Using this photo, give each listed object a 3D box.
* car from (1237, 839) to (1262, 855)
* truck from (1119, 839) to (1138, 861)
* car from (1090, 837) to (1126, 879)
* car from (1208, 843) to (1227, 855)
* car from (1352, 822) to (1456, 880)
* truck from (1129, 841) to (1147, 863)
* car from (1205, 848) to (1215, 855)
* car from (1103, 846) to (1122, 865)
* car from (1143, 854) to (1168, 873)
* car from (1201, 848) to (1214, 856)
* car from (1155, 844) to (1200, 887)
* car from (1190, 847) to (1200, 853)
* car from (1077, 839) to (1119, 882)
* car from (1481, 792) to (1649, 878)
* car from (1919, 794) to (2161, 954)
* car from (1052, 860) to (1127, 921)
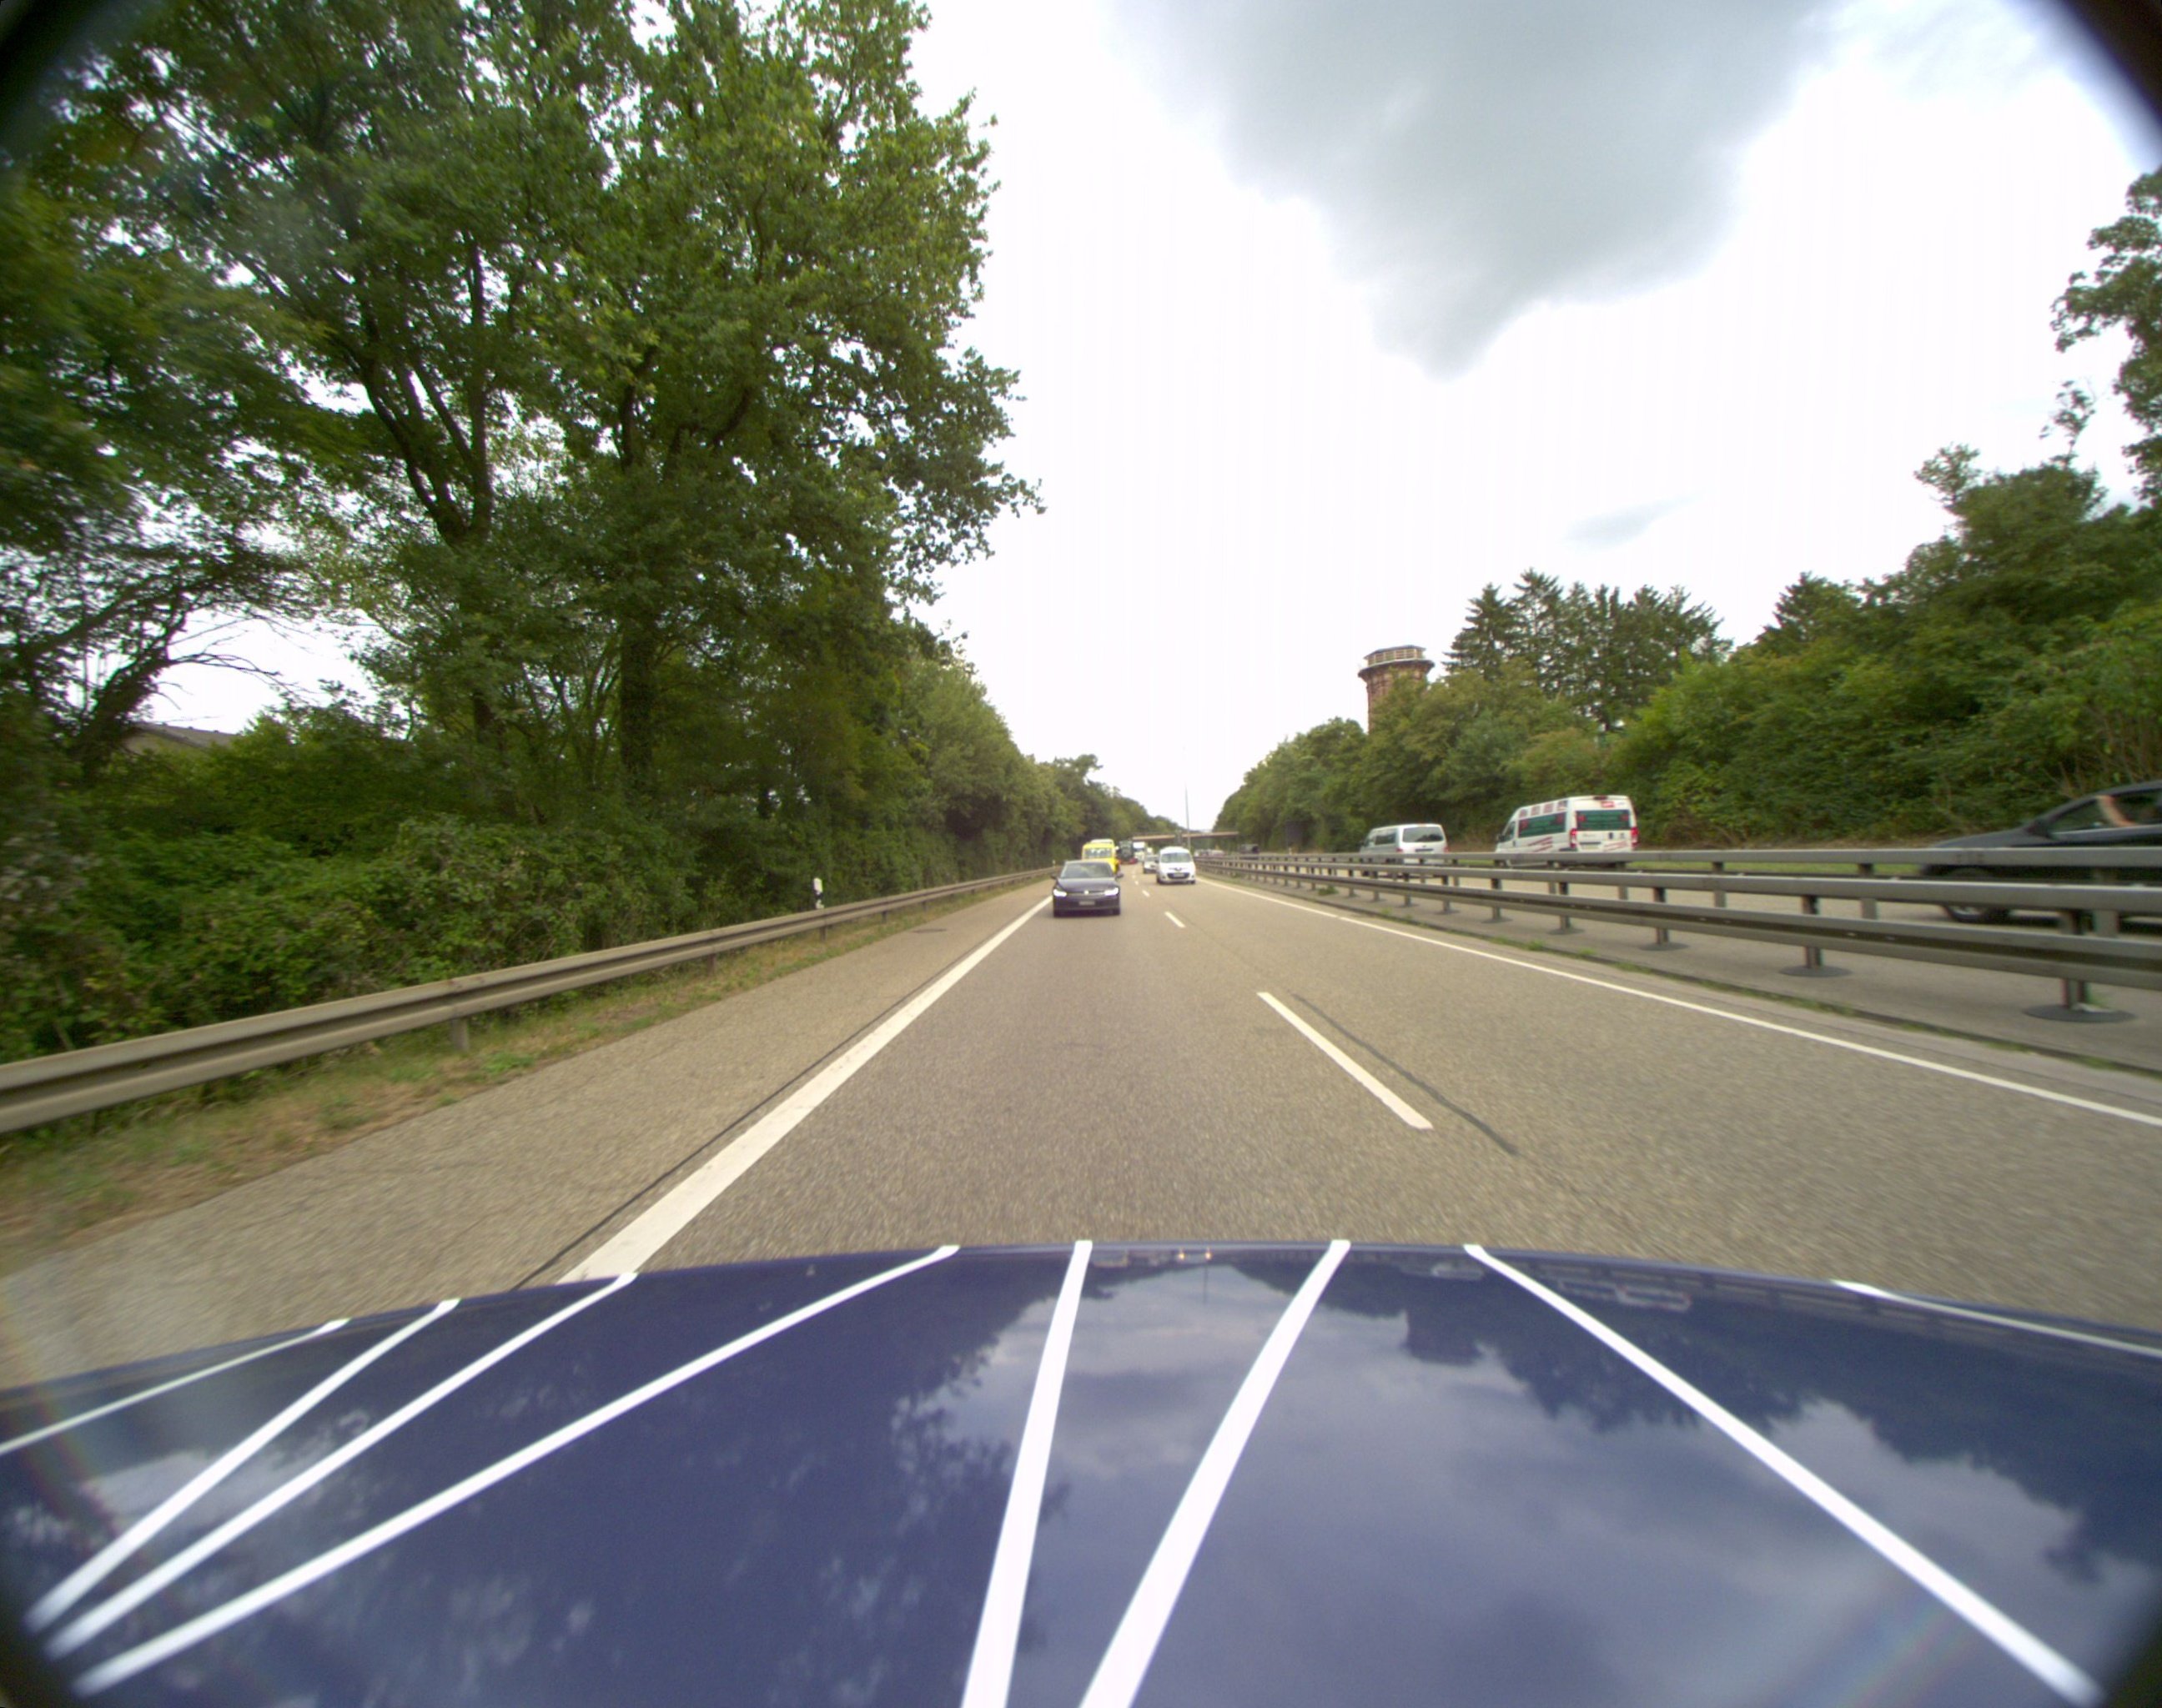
[{"bbox_3d":[20.622,-0.883,93.197,2.039,1.793,5.124,-2,0,3],"label":"car"},{"bbox_3d":[7.886,-0.710,126.470,2.547,3.564,6.460,-2,0,8],"label":"truck"},{"bbox_3d":[1.845,0.236,53.464,2.207,2.732,6.167,-2,0,0],"label":"car"},{"bbox_3d":[16.521,-0.612,91.954,1.659,1.270,4.713,-2,0,3],"label":"car"},{"bbox_3d":[12.063,-0.118,28.775,1.826,1.972,5.057,-2,0,1],"label":"car"},{"bbox_3d":[12.489,-0.545,164.944,3.098,4.462,12.215,-2,0,8],"label":"truck"},{"bbox_3d":[30.306,-0.679,178.377,1.734,1.592,4.132,-2,0,4],"label":"car"},{"bbox_3d":[3.120,0.143,75.410,1.678,1.763,3.937,-2,0,0],"label":"car"},{"bbox_3d":[5.972,0.751,61.305,1.772,1.416,4.199,-2,0,3],"label":"car"},{"bbox_3d":[22.996,-0.396,138.257,1.982,1.292,4.069,-2,0,2],"label":"car"},{"bbox_3d":[4.868,0.542,38.818,1.821,1.993,4.423,-2,0,2],"label":"car"},{"bbox_3d":[25.607,-0.872,170.542,1.715,1.418,4.057,-2,0,4],"label":"car"},{"bbox_3d":[0.943,0.369,45.188,2.248,2.334,5.223,-2,0,0],"label":"car"},{"bbox_3d":[16.410,-0.611,26.250,2.317,2.596,5.553,-2,0,1],"label":"car"},{"bbox_3d":[11.361,0.166,7.497,1.786,1.554,4.014,-2,0,1],"label":"car"},{"bbox_3d":[0.221,0.916,21.076,1.801,1.398,4.639,-2,0,0],"label":"car"}]
